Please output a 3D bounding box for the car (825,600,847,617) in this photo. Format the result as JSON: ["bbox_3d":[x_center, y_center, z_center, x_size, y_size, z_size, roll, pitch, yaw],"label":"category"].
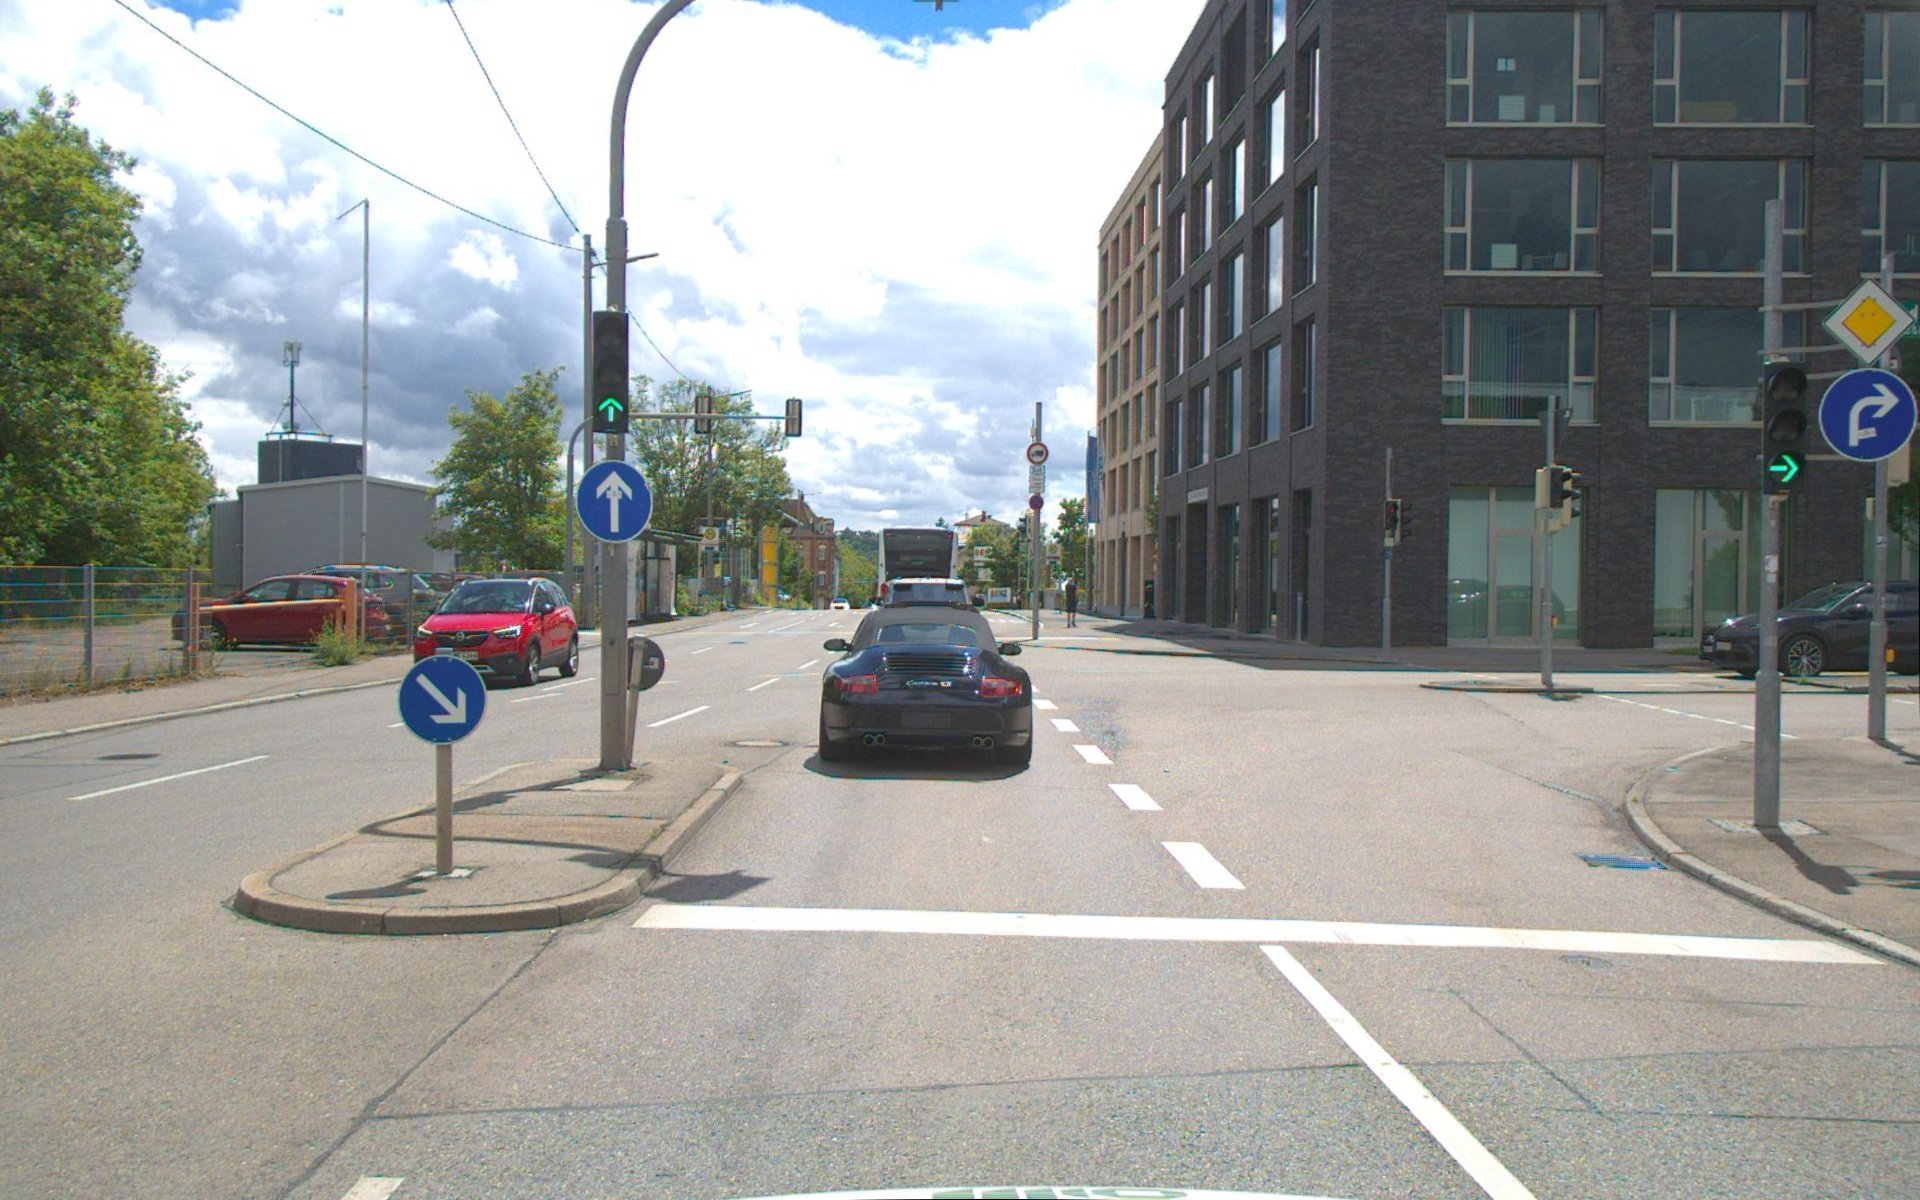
[{"bbox_3d":[-11.078,0.757,147.803,1.760,1.400,4.222,-1,1,-3],"label":"car"}]

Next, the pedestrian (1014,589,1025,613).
[{"bbox_3d":[3.869,0.065,107.263,0.673,1.563,0.856,0,-1,-2],"label":"pedestrian"}]

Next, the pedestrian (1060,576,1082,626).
[{"bbox_3d":[3.990,0.032,59.425,0.669,1.758,0.962,1,0,-2],"label":"pedestrian"}]

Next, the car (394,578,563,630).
[{"bbox_3d":[-13.654,0.097,47.073,4.222,1.443,2.025,0,0,0],"label":"car"}]

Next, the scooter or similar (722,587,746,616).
[{"bbox_3d":[-10.492,0.074,76.721,0.523,1.284,1.472,2,0,15],"label":"scooter or similar"}]

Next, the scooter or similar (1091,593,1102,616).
[{"bbox_3d":[7.230,0.242,87.528,0.418,1.173,1.403,0,0,-2],"label":"scooter or similar"}]

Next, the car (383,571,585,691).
[{"bbox_3d":[-7.139,0.409,25.262,1.891,1.627,4.152,-1,1,-1],"label":"car"}]

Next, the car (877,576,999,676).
[{"bbox_3d":[-0.458,0.404,28.960,1.892,1.610,4.204,1,0,-4],"label":"car"}]

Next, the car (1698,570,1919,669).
[{"bbox_3d":[15.411,0.309,28.481,4.546,1.647,1.999,0,1,-2],"label":"car"}]

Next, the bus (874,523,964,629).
[{"bbox_3d":[-1.319,-0.813,57.180,2.745,3.253,12.194,1,1,0],"label":"bus"}]

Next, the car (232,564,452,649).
[{"bbox_3d":[-13.210,0.131,35.578,4.023,1.765,1.998,0,0,-6],"label":"car"}]

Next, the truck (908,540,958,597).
[{"bbox_3d":[-1.604,-1.729,93.544,2.659,3.108,7.710,0,0,-2],"label":"truck"}]

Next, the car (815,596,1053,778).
[{"bbox_3d":[-0.239,0.690,15.367,1.891,1.400,4.207,1,1,-1],"label":"car"}]

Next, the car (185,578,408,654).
[{"bbox_3d":[-13.073,0.297,32.804,3.782,1.443,1.898,0,0,-10],"label":"car"}]
